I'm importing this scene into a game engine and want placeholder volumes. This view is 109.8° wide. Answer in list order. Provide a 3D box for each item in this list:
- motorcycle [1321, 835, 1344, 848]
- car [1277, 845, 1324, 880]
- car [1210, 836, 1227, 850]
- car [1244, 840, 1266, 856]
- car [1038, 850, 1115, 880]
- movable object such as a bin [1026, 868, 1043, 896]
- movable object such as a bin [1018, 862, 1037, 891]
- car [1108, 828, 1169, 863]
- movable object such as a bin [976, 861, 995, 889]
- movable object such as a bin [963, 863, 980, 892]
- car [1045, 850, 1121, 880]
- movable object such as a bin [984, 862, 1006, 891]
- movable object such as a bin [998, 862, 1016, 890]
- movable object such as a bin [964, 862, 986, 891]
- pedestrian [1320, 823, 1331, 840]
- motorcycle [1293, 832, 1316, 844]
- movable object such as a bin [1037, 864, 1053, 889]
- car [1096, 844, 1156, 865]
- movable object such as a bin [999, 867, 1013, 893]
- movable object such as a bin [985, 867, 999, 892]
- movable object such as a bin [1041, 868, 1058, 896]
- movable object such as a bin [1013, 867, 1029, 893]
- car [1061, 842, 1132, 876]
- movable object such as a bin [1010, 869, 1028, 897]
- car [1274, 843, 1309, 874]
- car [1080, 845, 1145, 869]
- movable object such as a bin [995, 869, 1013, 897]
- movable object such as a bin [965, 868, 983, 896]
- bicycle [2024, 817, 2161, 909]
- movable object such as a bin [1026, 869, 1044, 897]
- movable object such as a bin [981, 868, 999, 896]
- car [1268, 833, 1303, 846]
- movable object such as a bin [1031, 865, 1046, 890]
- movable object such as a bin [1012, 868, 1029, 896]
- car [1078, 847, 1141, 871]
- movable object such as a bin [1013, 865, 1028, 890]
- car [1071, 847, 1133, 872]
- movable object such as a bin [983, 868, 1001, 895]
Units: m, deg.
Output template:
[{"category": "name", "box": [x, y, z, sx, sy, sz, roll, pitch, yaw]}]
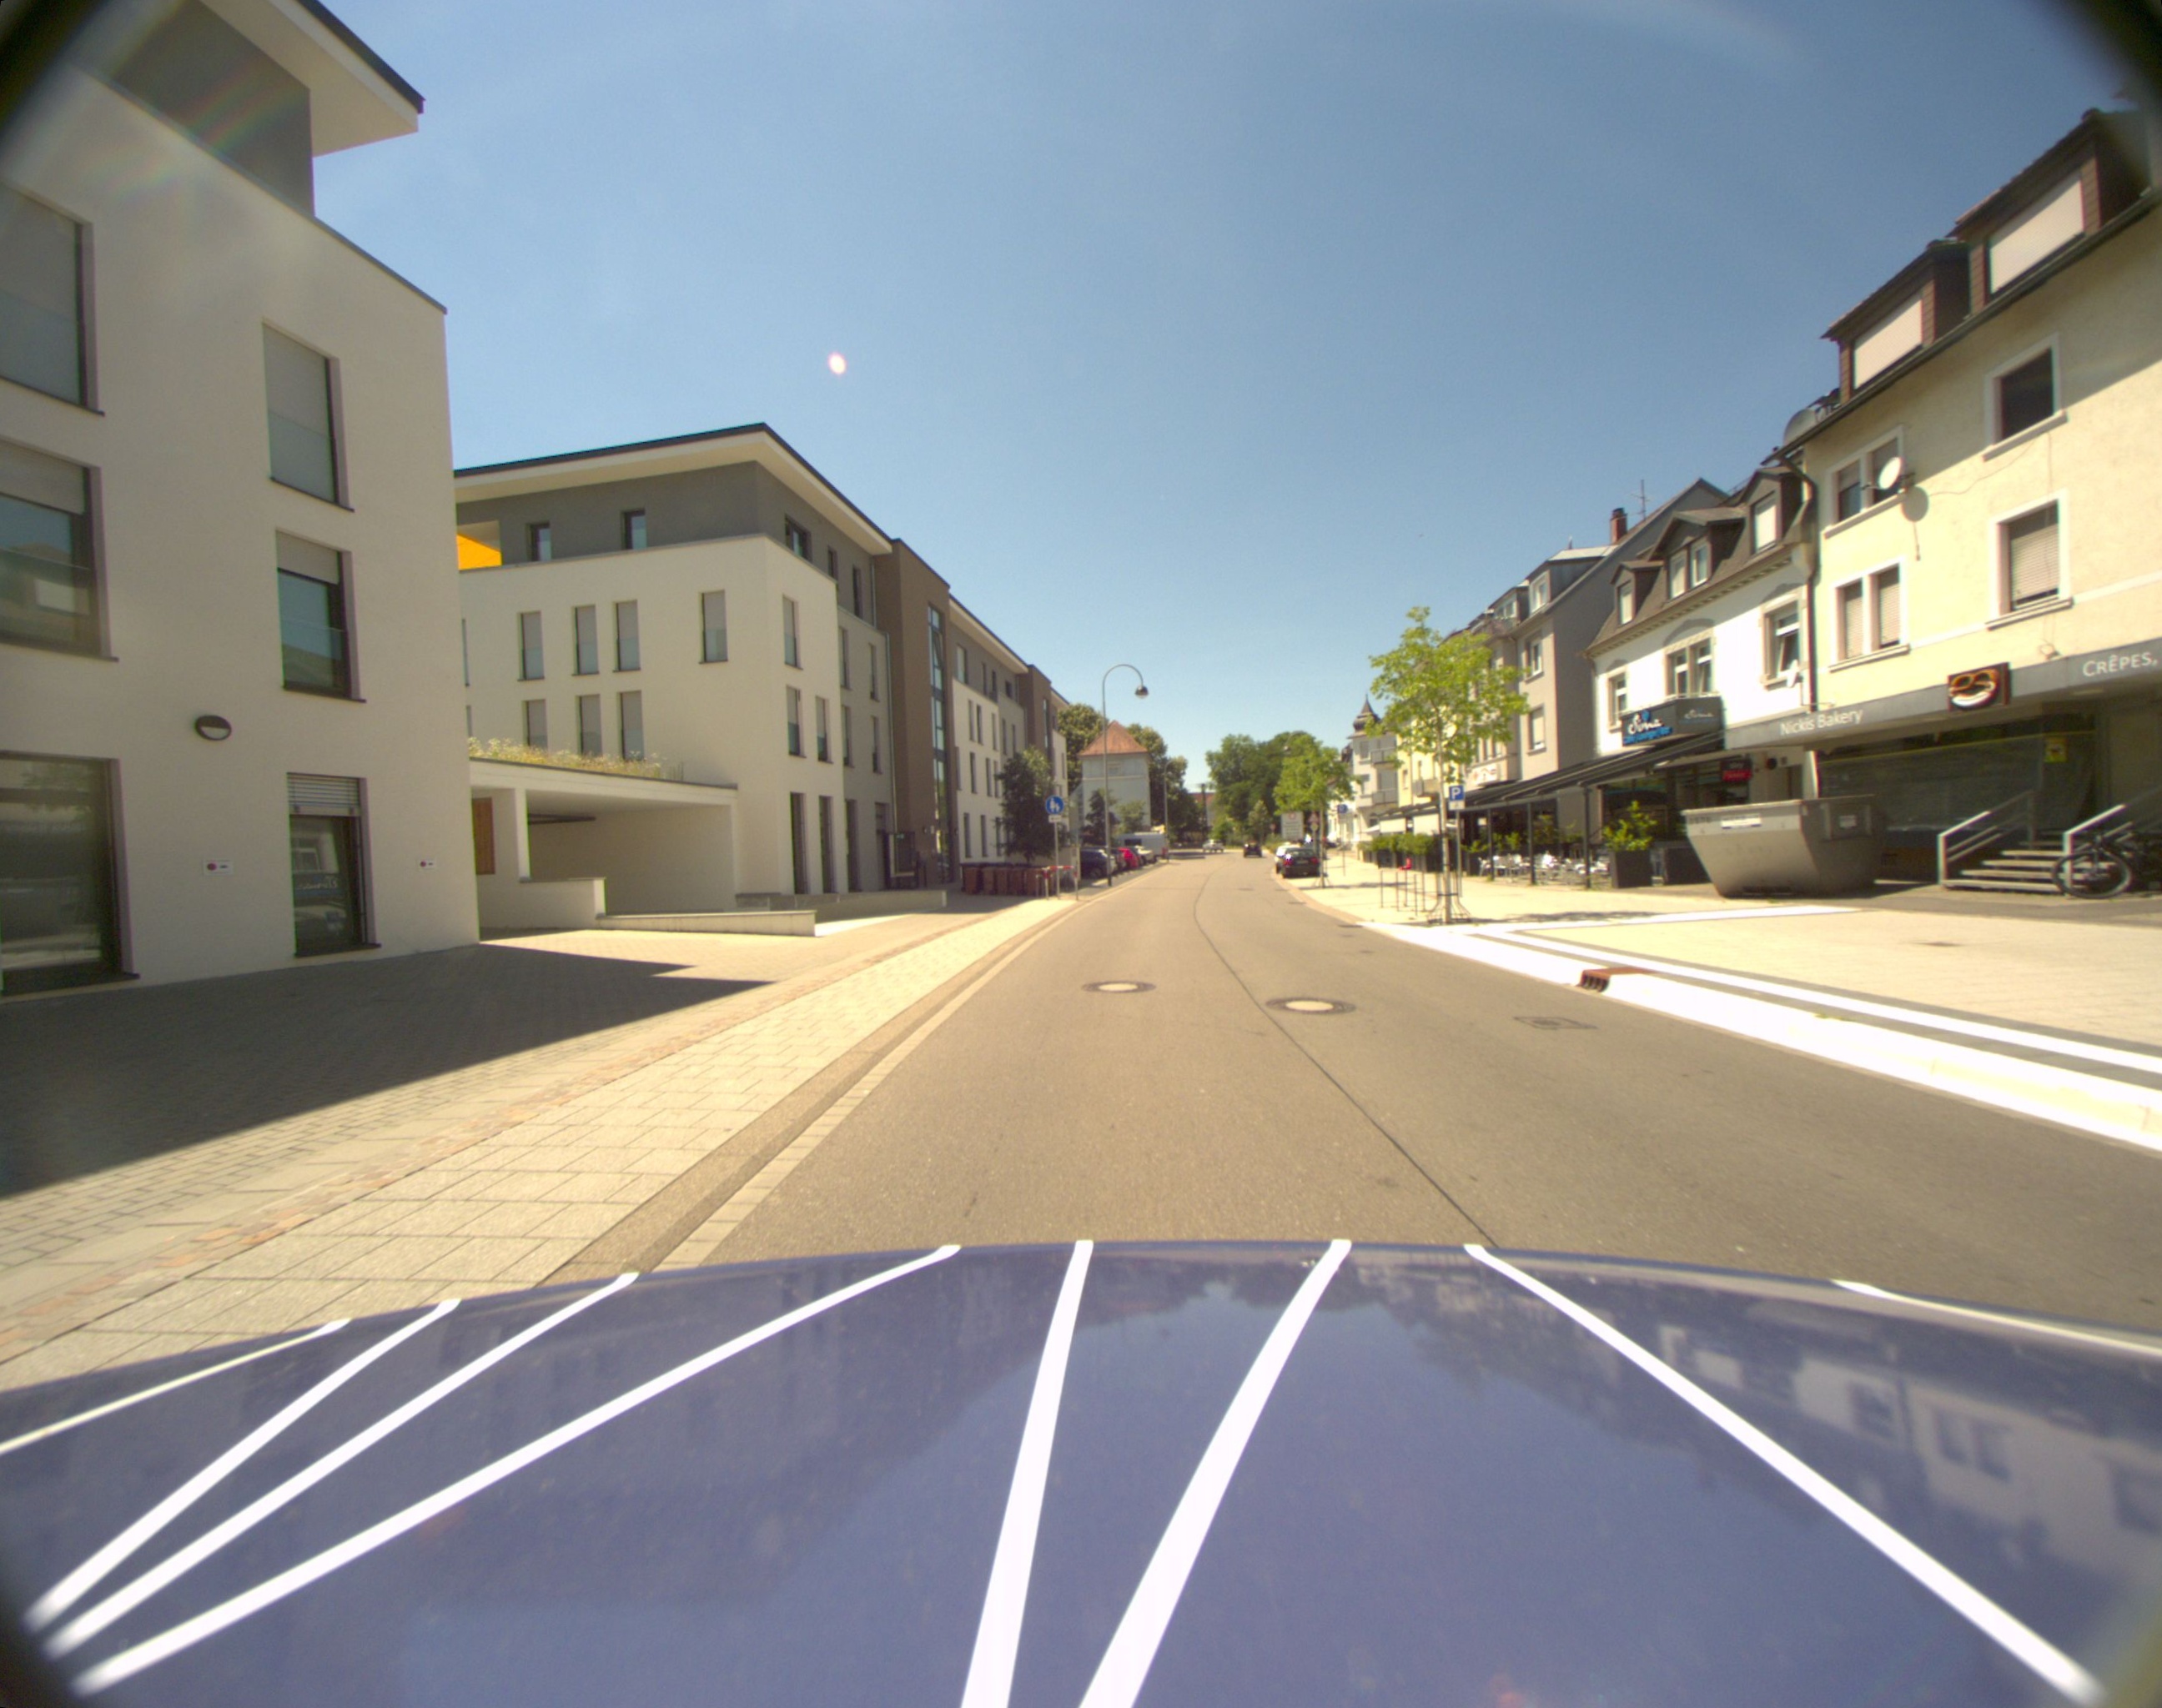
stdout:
[{"category": "motorcycle", "box": [26.681, -1.366, 80.604, 2.320, 1.317, 0.726, -1, 1, 13]}, {"category": "car", "box": [10.560, 0.356, 36.790, 1.757, 1.437, 4.452, -5, 0, 12]}, {"category": "car", "box": [16.884, -1.349, 93.117, 1.683, 1.476, 4.088, 0, 3, 14]}, {"category": "car", "box": [16.063, -0.591, 70.046, 1.618, 1.445, 3.868, 0, 1, 17]}, {"category": "car", "box": [-0.199, 0.523, 38.729, 3.662, 1.437, 1.536, 0, 2, 12]}, {"category": "movable object such as a bin", "box": [-1.600, 0.966, 26.411, 0.468, 0.925, 0.528, 0, 2, 11]}, {"category": "movable object such as a bin", "box": [-2.009, 0.851, 28.646, 0.570, 1.054, 0.560, 0, 2, 12]}, {"category": "car", "box": [4.784, -0.696, 63.098, 4.863, 2.720, 1.852, -1, 1, 11]}, {"category": "movable object such as a bin", "box": [-3.708, 0.823, 29.522, 0.648, 1.054, 0.625, 0, 2, -2]}, {"category": "movable object such as a bin", "box": [-4.023, 0.864, 27.853, 0.570, 1.036, 0.560, 0, 2, -3]}, {"category": "car", "box": [0.155, 0.573, 40.878, 3.815, 1.474, 1.779, -1, 1, 9]}, {"category": "movable object such as a bin", "box": [-3.241, 0.857, 28.722, 0.647, 1.054, 0.626, 0, 2, 12]}, {"category": "movable object such as a bin", "box": [-2.864, 0.834, 29.325, 0.648, 1.054, 0.625, 0, 2, -2]}, {"category": "movable object such as a bin", "box": [-4.007, 0.838, 28.861, 0.647, 1.054, 0.626, 0, 2, 12]}, {"category": "pedestrian", "box": [24.818, -2.297, 77.125, 0.758, 1.756, 0.803, -2, 1, 0]}, {"category": "motorcycle", "box": [24.788, -1.792, 84.339, 2.320, 1.317, 0.726, -1, 1, 13]}, {"category": "movable object such as a bin", "box": [-1.414, 0.875, 29.758, 0.562, 0.926, 0.465, 0, 2, 5]}, {"category": "car", "box": [3.470, 0.042, 58.309, 4.378, 1.520, 1.720, -1, 1, 10]}, {"category": "movable object such as a bin", "box": [-2.775, 0.949, 28.045, 0.483, 0.918, 0.437, 0, 2, -12]}, {"category": "movable object such as a bin", "box": [-3.299, 0.943, 28.050, 0.483, 0.918, 0.437, 0, 2, -12]}, {"category": "movable object such as a bin", "box": [-1.090, 0.960, 26.306, 0.474, 0.925, 0.528, 0, 2, 11]}, {"category": "movable object such as a bin", "box": [-2.199, 0.950, 27.915, 0.517, 0.918, 0.437, 0, 2, -12]}, {"category": "car", "box": [0.937, 0.264, 43.486, 3.815, 1.776, 1.841, -1, 1, 9]}, {"category": "movable object such as a bin", "box": [-2.119, 0.981, 25.900, 0.474, 0.925, 0.528, 0, 2, 11]}, {"category": "car", "box": [11.590, 0.214, 41.898, 1.683, 1.475, 3.772, -4, 1, 16]}, {"category": "car", "box": [2.239, 0.200, 53.532, 4.355, 1.542, 1.652, -1, 1, 7]}, {"category": "movable object such as a bin", "box": [-2.637, 0.976, 25.991, 0.474, 0.925, 0.528, 0, 2, 11]}, {"category": "movable object such as a bin", "box": [-3.720, 0.967, 26.391, 0.474, 0.925, 0.528, 0, 2, 11]}, {"category": "bicycle", "box": [15.438, 0.128, 11.294, 1.768, 1.227, 0.616, -4, 1, 10]}, {"category": "movable object such as a bin", "box": [-1.566, 0.978, 25.822, 0.474, 0.925, 0.528, 0, 2, 11]}, {"category": "movable object such as a bin", "box": [-3.132, 0.969, 26.098, 0.474, 0.925, 0.528, 0, 2, 11]}, {"category": "car", "box": [25.896, -1.804, 96.256, 3.944, 1.528, 1.832, -2, 1, -24]}, {"category": "movable object such as a bin", "box": [-1.645, 0.892, 29.186, 0.513, 0.926, 0.465, 0, 2, 5]}, {"category": "movable object such as a bin", "box": [-2.102, 0.969, 26.472, 0.466, 0.925, 0.522, 0, 2, 11]}, {"category": "car", "box": [1.845, 0.315, 48.902, 3.815, 1.454, 1.653, -1, 1, 9]}, {"category": "movable object such as a bin", "box": [-2.329, 0.897, 29.367, 0.485, 0.926, 0.467, 0, 2, 5]}, {"category": "car", "box": [1.320, 0.332, 46.462, 3.614, 1.454, 1.618, -1, 1, 9]}, {"category": "movable object such as a bin", "box": [-3.126, 0.963, 26.679, 0.466, 0.925, 0.522, 0, 2, 11]}]
